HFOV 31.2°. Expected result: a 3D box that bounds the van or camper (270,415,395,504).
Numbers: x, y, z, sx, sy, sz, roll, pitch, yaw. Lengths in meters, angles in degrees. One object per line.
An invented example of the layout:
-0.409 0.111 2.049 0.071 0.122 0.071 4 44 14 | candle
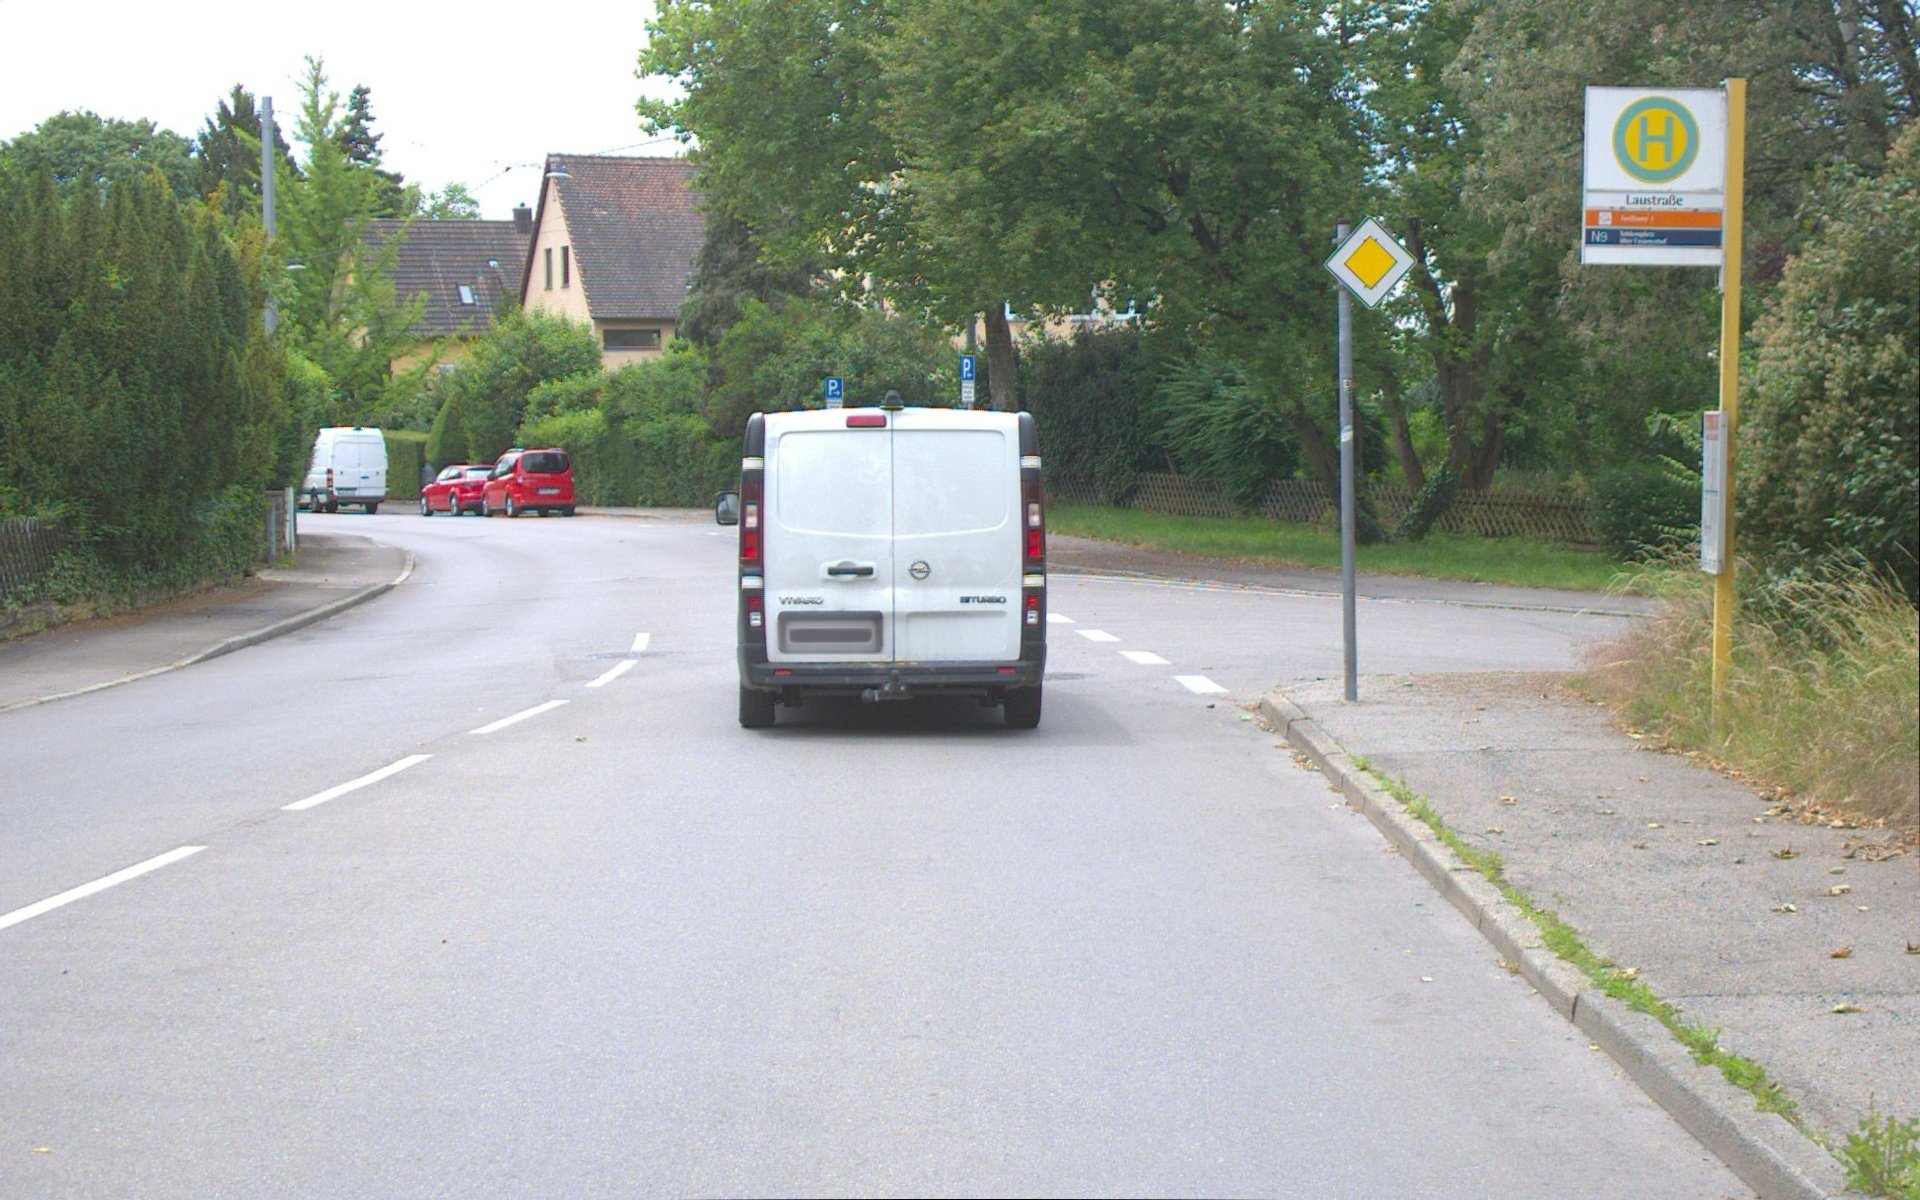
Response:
-19.654 -4.410 107.451 2.066 2.665 6.330 -2 3 -27 | van or camper

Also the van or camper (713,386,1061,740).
-0.594 -0.356 22.302 1.924 2.006 4.831 0 4 -5 | van or camper

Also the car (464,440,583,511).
-11.467 -3.282 90.007 1.760 1.791 4.950 -1 3 -24 | car

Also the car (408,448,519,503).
-13.731 -3.459 94.998 1.712 1.462 4.269 -2 3 -27 | car
